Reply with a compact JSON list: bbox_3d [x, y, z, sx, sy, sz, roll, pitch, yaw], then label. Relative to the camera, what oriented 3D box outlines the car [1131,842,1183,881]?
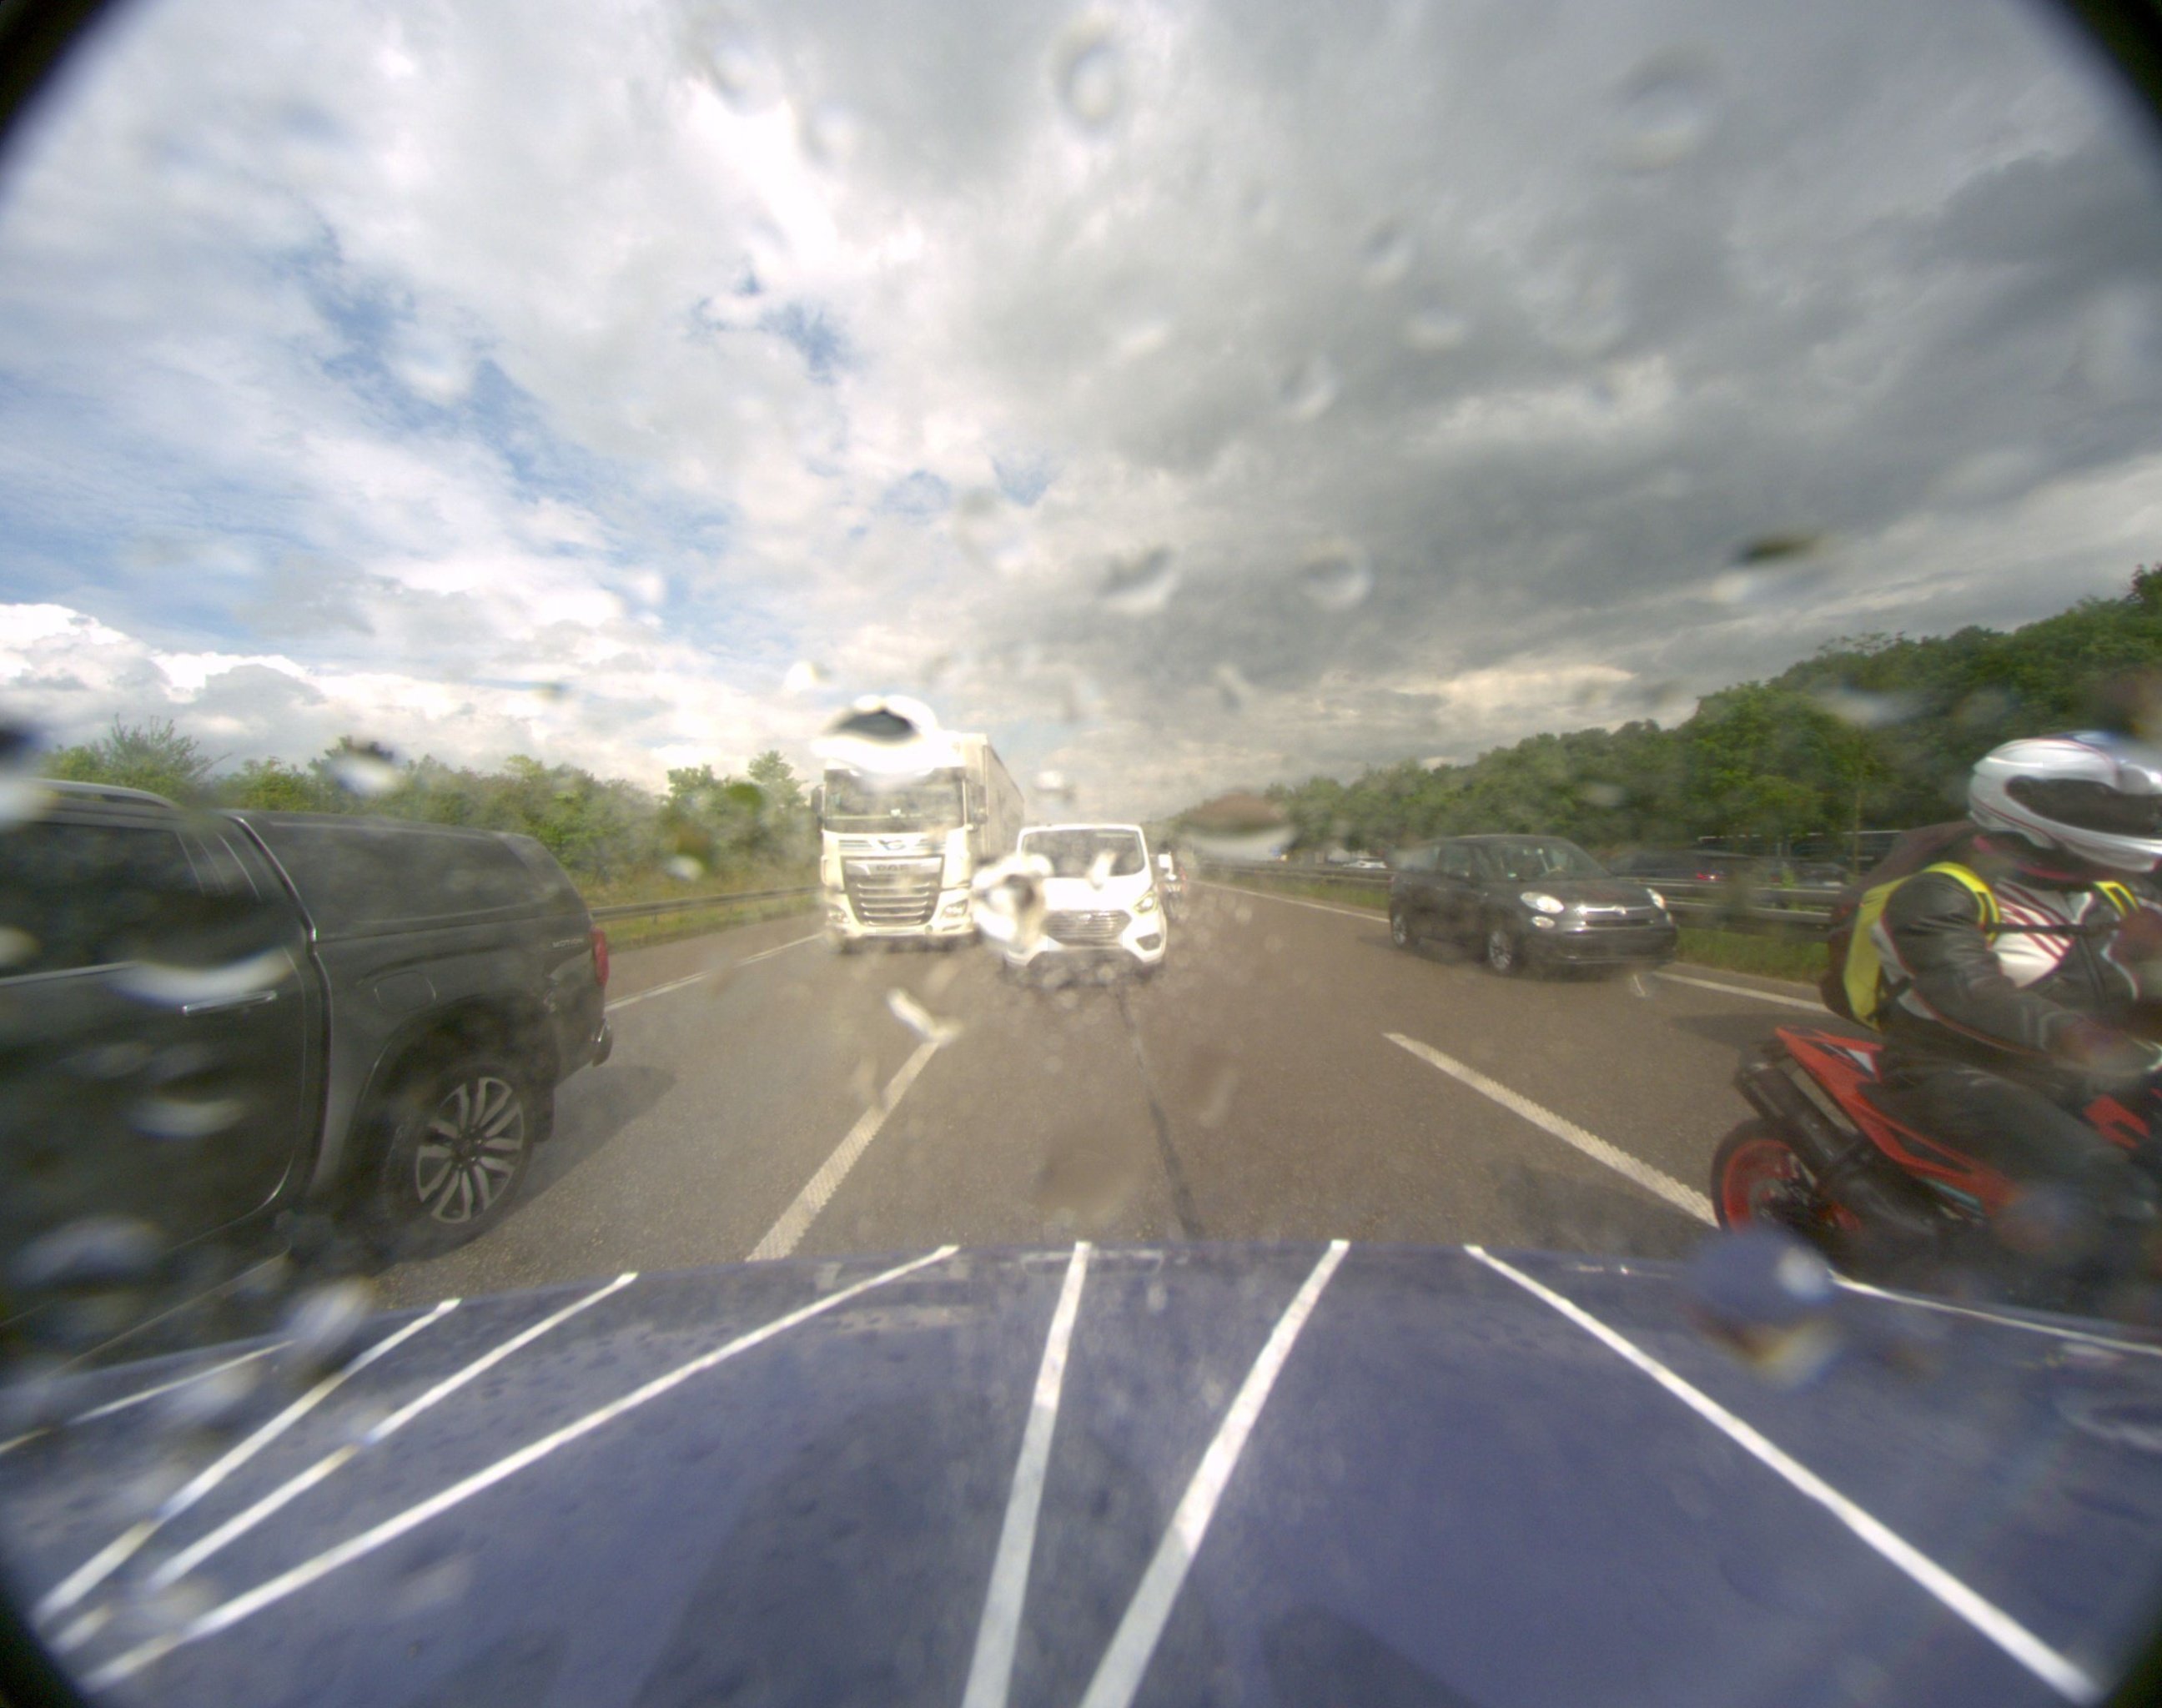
[{"bbox_3d":[4.367,0.392,44.404,2.350,2.033,5.142,-2,1,-1],"label":"car"}]

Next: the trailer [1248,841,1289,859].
[{"bbox_3d":[40.996,-0.892,166.857,3.216,3.717,12.553,-1,0,-15],"label":"trailer"}]

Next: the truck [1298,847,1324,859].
[{"bbox_3d":[45.603,-0.128,150.824,2.126,2.252,6.311,-2,1,-14],"label":"truck"}]

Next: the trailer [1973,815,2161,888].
[{"bbox_3d":[55.752,-0.162,39.245,3.798,3.627,13.344,-1,0,0],"label":"trailer"}]

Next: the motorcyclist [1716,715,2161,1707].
[{"bbox_3d":[2.181,0.605,1.555,0.883,1.696,1.000,-2,1,-3],"label":"motorcyclist"}]

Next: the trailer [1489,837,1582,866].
[{"bbox_3d":[54.550,-0.332,91.826,3.357,3.198,12.470,-1,0,-3],"label":"trailer"}]

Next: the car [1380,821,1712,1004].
[{"bbox_3d":[5.525,0.571,9.715,1.697,1.794,3.975,-2,1,-1],"label":"car"}]

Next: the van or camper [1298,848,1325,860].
[{"bbox_3d":[45.730,-0.020,150.764,2.126,2.252,6.315,-2,1,-14],"label":"van or camper"}]

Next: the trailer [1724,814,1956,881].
[{"bbox_3d":[56.393,-0.453,57.493,3.798,4.380,13.800,-1,0,0],"label":"trailer"}]

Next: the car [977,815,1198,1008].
[{"bbox_3d":[0.033,0.603,10.936,2.350,2.033,5.142,-2,1,-1],"label":"car"}]

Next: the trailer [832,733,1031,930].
[{"bbox_3d":[-3.499,-0.467,22.557,3.292,3.876,14.125,-3,0,-1],"label":"trailer"}]

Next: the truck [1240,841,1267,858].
[{"bbox_3d":[39.269,-0.909,173.207,3.219,3.683,6.907,-2,1,-15],"label":"truck"}]

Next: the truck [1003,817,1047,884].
[{"bbox_3d":[-3.845,-0.245,52.352,2.651,4.250,6.881,-2,1,-4],"label":"truck"}]

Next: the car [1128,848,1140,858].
[{"bbox_3d":[11.305,-0.137,163.557,2.057,2.034,5.208,-2,1,-1],"label":"car"}]

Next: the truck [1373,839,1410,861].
[{"bbox_3d":[50.650,-0.705,124.061,2.869,3.436,5.892,-2,1,-8],"label":"truck"}]

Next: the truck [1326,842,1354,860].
[{"bbox_3d":[47.668,-0.593,139.917,2.663,3.249,5.081,-2,1,-11],"label":"truck"}]

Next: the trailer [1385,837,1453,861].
[{"bbox_3d":[51.645,-0.709,116.721,2.832,3.385,13.416,-1,0,-8],"label":"trailer"}]

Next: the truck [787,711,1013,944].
[{"bbox_3d":[-3.389,-0.464,16.300,3.293,3.868,6.395,-3,0,-1],"label":"truck"}]

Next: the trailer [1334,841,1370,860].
[{"bbox_3d":[48.462,-0.597,136.192,2.588,3.214,7.733,-1,0,-11],"label":"trailer"}]

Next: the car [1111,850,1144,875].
[{"bbox_3d":[4.040,0.705,66.868,2.350,2.033,5.142,-2,1,-1],"label":"car"}]

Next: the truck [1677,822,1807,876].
[{"bbox_3d":[56.350,-0.464,65.187,3.797,4.209,8.415,-2,1,0],"label":"truck"}]

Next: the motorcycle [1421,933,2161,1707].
[{"bbox_3d":[2.144,0.982,1.635,1.188,1.219,3.193,-2,1,-4],"label":"motorcycle"}]

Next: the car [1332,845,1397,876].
[{"bbox_3d":[17.756,0.363,47.884,2.057,1.765,5.208,-2,1,-1],"label":"car"}]

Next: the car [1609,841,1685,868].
[{"bbox_3d":[55.833,0.015,75.126,2.800,2.468,6.209,-2,1,0],"label":"car"}]

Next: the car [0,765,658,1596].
[{"bbox_3d":[-3.483,0.783,1.665,1.947,1.908,5.650,-2,1,-1],"label":"car"}]

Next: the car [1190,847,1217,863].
[{"bbox_3d":[14.163,0.108,88.121,2.057,1.765,5.208,-2,1,-1],"label":"car"}]

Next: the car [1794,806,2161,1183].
[{"bbox_3d":[5.638,0.609,2.634,1.914,1.627,4.615,0,1,-2],"label":"car"}]

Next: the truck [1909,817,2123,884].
[{"bbox_3d":[55.785,-0.216,45.744,3.797,3.569,7.353,-2,1,0],"label":"truck"}]
